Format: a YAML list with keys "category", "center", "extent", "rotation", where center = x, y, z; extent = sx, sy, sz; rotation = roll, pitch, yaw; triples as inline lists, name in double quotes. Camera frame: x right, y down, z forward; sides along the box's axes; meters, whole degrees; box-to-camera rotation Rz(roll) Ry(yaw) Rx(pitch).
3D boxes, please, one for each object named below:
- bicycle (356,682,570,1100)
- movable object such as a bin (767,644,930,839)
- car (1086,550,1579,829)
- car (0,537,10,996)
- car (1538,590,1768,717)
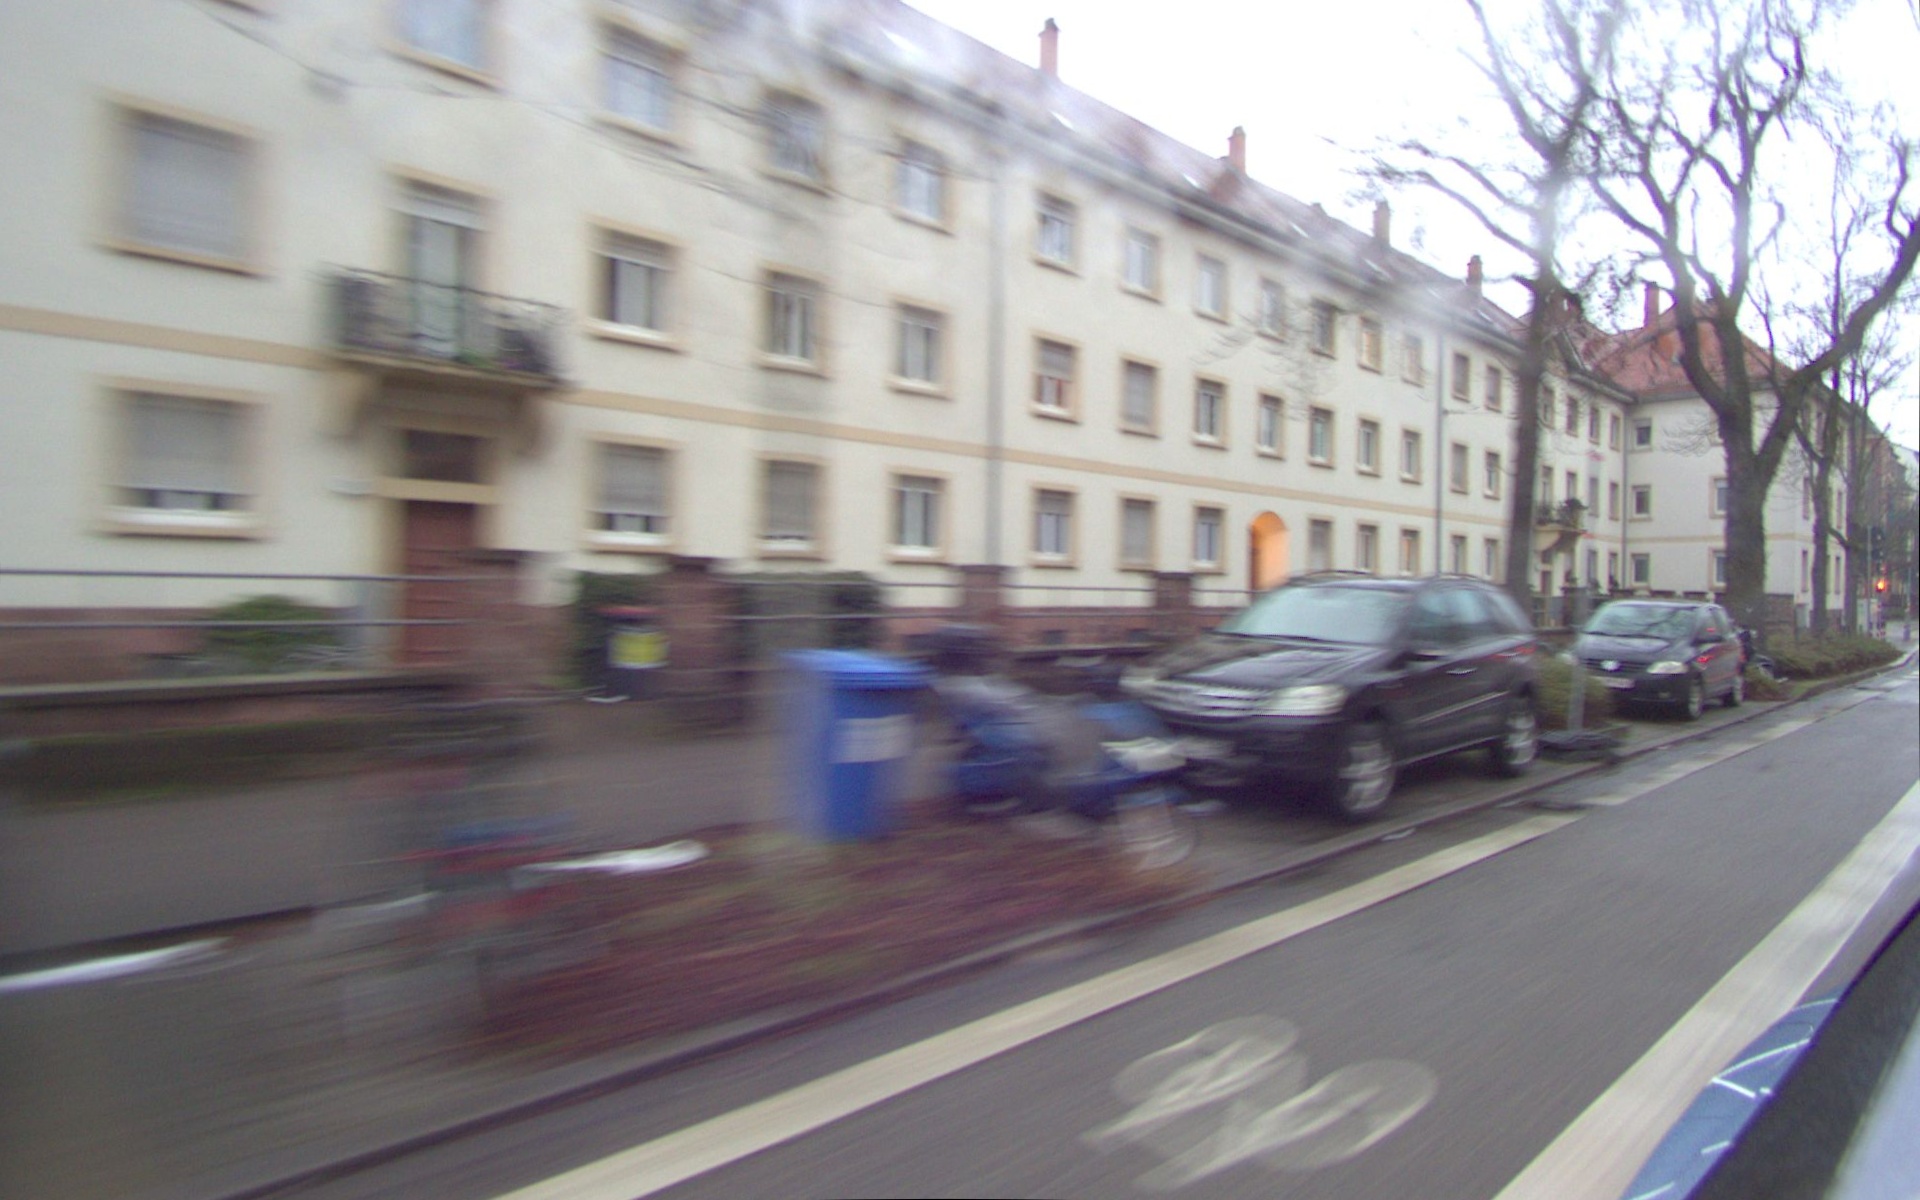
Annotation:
- category: "bicycle"
  center: [-2.021, 0.945, 3.960]
  extent: [0.455, 0.927, 2.022]
  rotation: [0, 5, -34]
- category: "movable object such as a bin"
  center: [-0.670, 0.801, 6.033]
  extent: [0.751, 0.965, 0.560]
  rotation: [8, 5, 44]
- category: "car"
  center: [3.398, 0.540, 8.657]
  extent: [4.817, 1.749, 1.909]
  rotation: [0, 1, -42]
- category: "car"
  center: [-4.687, 0.610, 1.613]
  extent: [4.479, 1.630, 1.910]
  rotation: [0, 1, -39]
- category: "car"
  center: [9.894, 0.640, 14.342]
  extent: [3.918, 1.528, 1.788]
  rotation: [0, 1, -41]
